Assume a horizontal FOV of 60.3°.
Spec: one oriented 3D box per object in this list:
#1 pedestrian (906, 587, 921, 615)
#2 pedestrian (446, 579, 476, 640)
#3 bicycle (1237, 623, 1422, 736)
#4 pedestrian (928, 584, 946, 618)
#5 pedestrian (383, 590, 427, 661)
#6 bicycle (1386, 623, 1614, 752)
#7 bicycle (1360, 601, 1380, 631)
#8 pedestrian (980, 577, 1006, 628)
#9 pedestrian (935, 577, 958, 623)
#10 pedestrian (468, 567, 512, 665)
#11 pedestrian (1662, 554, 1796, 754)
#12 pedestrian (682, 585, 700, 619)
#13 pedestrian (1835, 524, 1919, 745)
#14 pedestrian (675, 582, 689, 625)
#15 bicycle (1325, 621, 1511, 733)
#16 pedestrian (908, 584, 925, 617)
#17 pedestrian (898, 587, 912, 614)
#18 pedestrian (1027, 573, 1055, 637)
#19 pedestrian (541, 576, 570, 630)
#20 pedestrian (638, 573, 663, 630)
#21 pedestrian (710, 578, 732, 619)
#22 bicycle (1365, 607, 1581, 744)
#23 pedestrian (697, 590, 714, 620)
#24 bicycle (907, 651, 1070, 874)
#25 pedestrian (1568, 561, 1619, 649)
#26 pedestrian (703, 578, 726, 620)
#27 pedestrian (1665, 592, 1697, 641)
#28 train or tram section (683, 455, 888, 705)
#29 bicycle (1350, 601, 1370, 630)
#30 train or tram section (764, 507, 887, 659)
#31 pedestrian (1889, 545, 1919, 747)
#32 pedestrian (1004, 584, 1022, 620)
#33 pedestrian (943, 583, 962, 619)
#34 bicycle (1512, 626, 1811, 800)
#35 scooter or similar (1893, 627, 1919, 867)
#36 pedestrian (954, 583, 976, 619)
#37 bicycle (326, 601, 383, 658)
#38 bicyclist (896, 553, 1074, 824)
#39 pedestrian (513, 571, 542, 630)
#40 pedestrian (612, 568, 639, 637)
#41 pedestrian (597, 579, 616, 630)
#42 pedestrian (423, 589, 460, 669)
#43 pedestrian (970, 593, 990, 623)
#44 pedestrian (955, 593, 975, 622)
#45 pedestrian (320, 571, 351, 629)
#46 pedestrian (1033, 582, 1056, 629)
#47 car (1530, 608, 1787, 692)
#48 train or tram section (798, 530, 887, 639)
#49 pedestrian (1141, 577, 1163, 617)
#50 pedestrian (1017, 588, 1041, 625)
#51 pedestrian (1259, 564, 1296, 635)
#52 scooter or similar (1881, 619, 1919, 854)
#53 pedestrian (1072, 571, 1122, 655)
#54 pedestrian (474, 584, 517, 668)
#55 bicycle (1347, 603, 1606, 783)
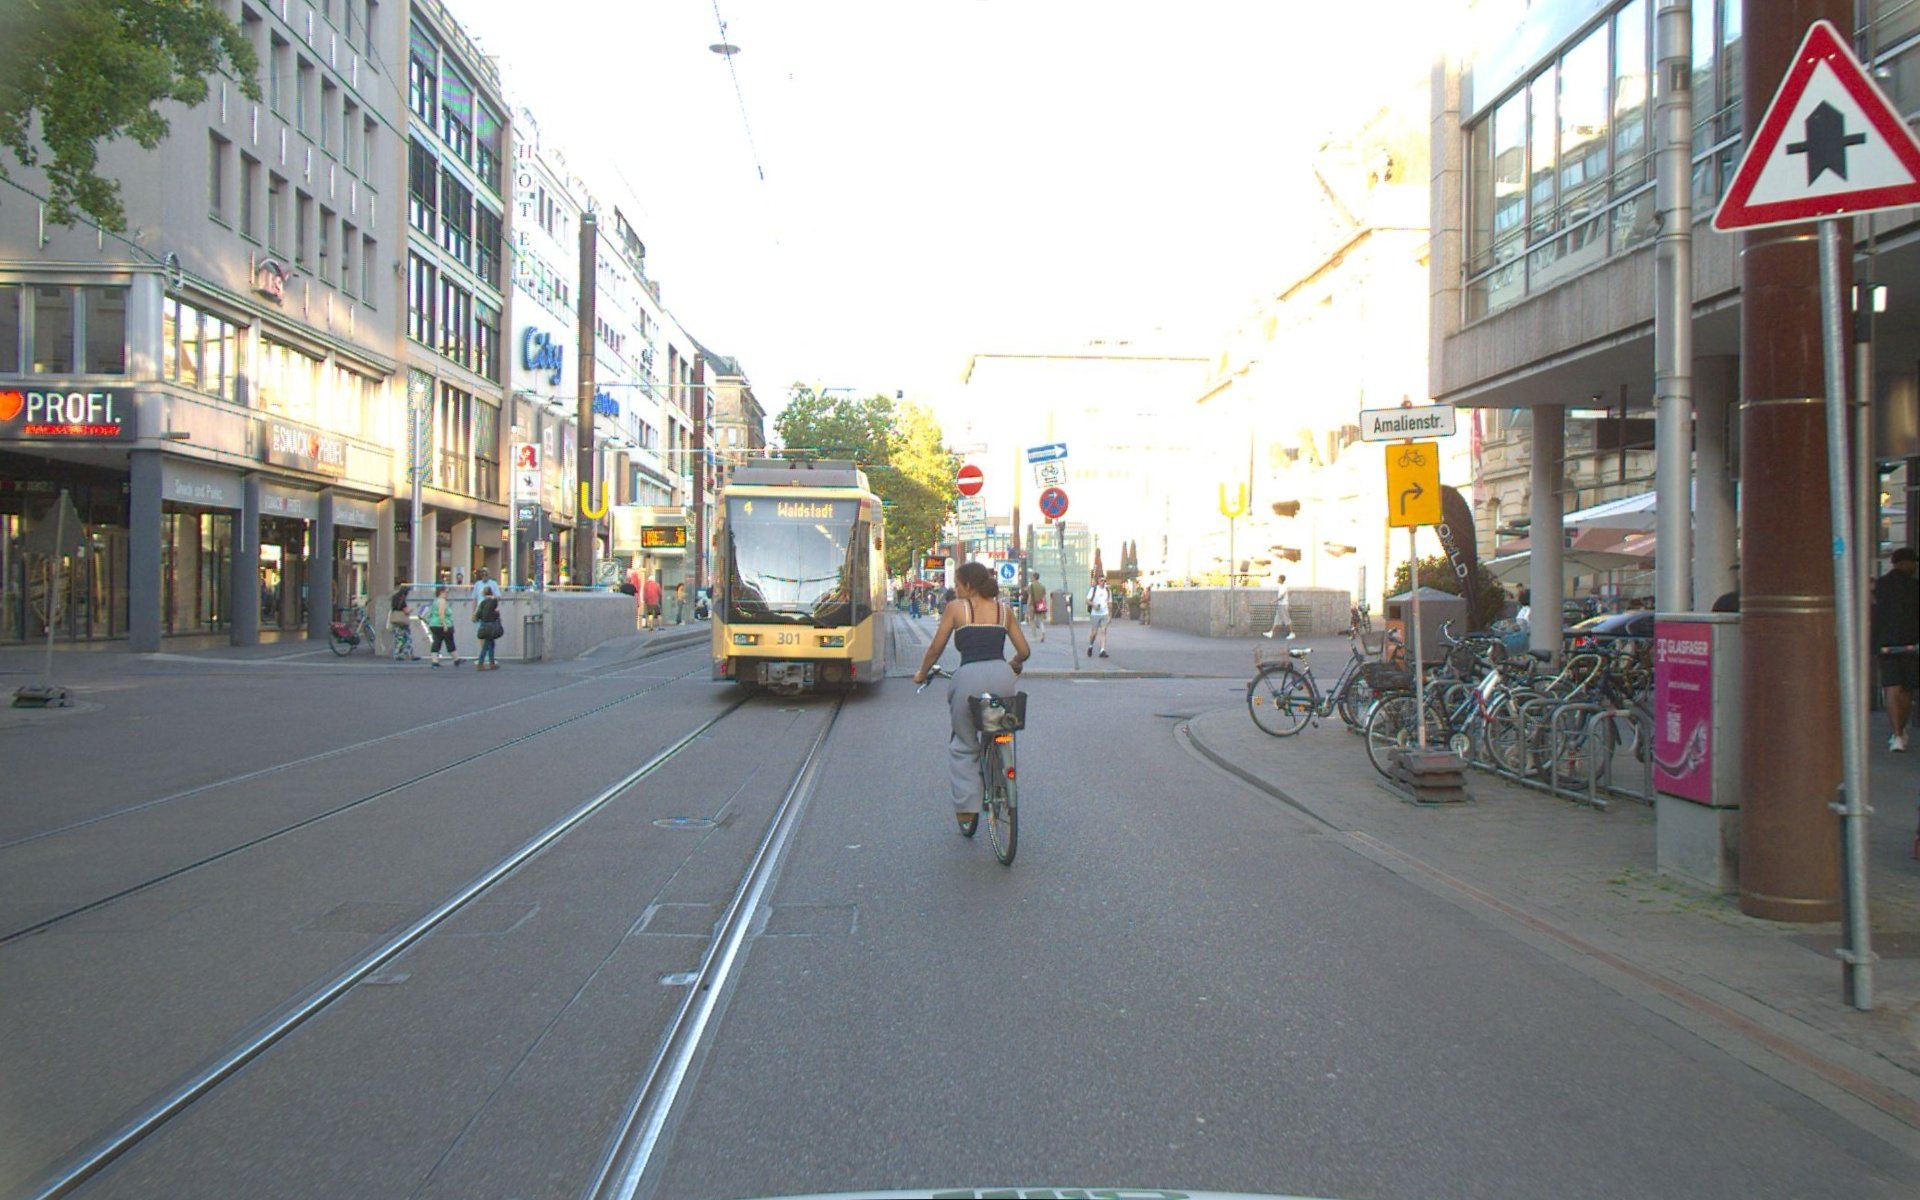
[{"bbox_3d":[-2.848,0.037,100.811,0.775,1.690,0.770,0,0,9],"label":"pedestrian"},{"bbox_3d":[-14.528,0.273,48.181,0.699,1.756,0.709,0,-1,-4],"label":"pedestrian"},{"bbox_3d":[3.943,0.841,17.716,1.816,1.128,0.666,-1,0,-5],"label":"bicycle"},{"bbox_3d":[-1.160,0.032,83.191,0.775,1.690,0.770,0,0,9],"label":"pedestrian"},{"bbox_3d":[-11.520,0.526,34.342,0.544,1.459,0.682,-1,-1,35],"label":"pedestrian"},{"bbox_3d":[5.088,0.806,15.638,1.879,1.096,0.762,-2,0,-7],"label":"bicycle"},{"bbox_3d":[12.493,0.477,50.411,0.309,0.882,0.999,-1,0,-3],"label":"bicycle"},{"bbox_3d":[1.209,0.107,60.648,0.722,1.855,0.816,0,0,-17],"label":"pedestrian"},{"bbox_3d":[-0.554,0.008,67.341,0.722,1.855,0.816,0,0,-17],"label":"pedestrian"},{"bbox_3d":[-9.457,0.324,33.297,0.759,1.960,0.708,0,-1,-10],"label":"pedestrian"},{"bbox_3d":[6.955,0.479,14.999,0.748,1.749,0.923,-1,0,-1],"label":"pedestrian"},{"bbox_3d":[-11.436,0.086,70.283,0.693,1.403,0.720,0,-1,-4],"label":"pedestrian"},{"bbox_3d":[8.903,0.315,15.772,0.672,2.049,0.782,-1,0,-2],"label":"pedestrian"},{"bbox_3d":[-10.518,0.131,62.470,0.502,1.646,0.504,0,-1,-12],"label":"pedestrian"},{"bbox_3d":[4.952,0.819,17.925,1.816,1.128,0.666,-1,0,-5],"label":"bicycle"},{"bbox_3d":[-2.286,0.021,86.964,0.750,1.690,0.795,0,0,9],"label":"pedestrian"},{"bbox_3d":[-3.534,0.033,106.264,0.750,1.690,0.795,0,0,7],"label":"pedestrian"},{"bbox_3d":[2.258,0.146,46.123,0.704,1.756,0.709,0,-1,-3],"label":"pedestrian"},{"bbox_3d":[-12.270,0.092,50.171,0.623,1.616,0.595,1,-1,-45],"label":"pedestrian"},{"bbox_3d":[-9.418,0.053,50.388,0.700,1.727,0.784,0,-1,-8],"label":"pedestrian"},{"bbox_3d":[-10.124,-0.056,70.096,0.700,1.756,0.767,1,-1,-31],"label":"pedestrian"},{"bbox_3d":[5.062,0.726,16.384,1.879,1.244,0.762,-2,0,-7],"label":"bicycle"},{"bbox_3d":[-11.614,0.233,75.587,0.693,1.403,0.720,0,-1,-4],"label":"pedestrian"},{"bbox_3d":[0.123,0.906,9.940,0.799,1.092,2.112,2,0,-3],"label":"bicycle"},{"bbox_3d":[13.516,0.101,35.279,0.791,1.855,0.806,0,1,2],"label":"pedestrian"},{"bbox_3d":[-10.166,-0.036,68.528,0.700,1.756,0.766,1,-1,-33],"label":"pedestrian"},{"bbox_3d":[20.433,0.468,46.890,0.581,1.331,0.581,1,2,-7],"label":"pedestrian"},{"bbox_3d":[-2.682,-0.318,29.660,2.744,3.377,14.501,0,0,-3],"label":"train or tram section"},{"bbox_3d":[12.174,0.471,50.394,0.309,0.882,0.999,-1,0,-3],"label":"bicycle"},{"bbox_3d":[-3.324,-0.431,44.175,2.744,3.377,14.501,0,0,-3],"label":"train or tram section"},{"bbox_3d":[8.949,0.409,14.971,0.649,1.818,0.719,-1,0,-2],"label":"pedestrian"},{"bbox_3d":[2.522,0.090,78.702,0.775,1.690,0.770,0,0,9],"label":"pedestrian"},{"bbox_3d":[-0.341,0.037,78.433,0.775,1.690,0.770,0,0,9],"label":"pedestrian"},{"bbox_3d":[5.269,0.823,12.464,1.958,1.175,0.724,-2,0,-7],"label":"bicycle"},{"bbox_3d":[5.653,0.782,9.104,1.176,1.273,0.389,-1,1,-32],"label":"scooter or similar"},{"bbox_3d":[0.226,0.060,74.811,0.752,1.606,0.794,0,0,27],"label":"pedestrian"},{"bbox_3d":[-13.032,0.619,35.628,0.488,1.127,1.801,0,2,3],"label":"bicycle"},{"bbox_3d":[0.128,0.505,9.922,0.977,1.528,0.857,2,0,-3],"label":"bicyclist"},{"bbox_3d":[-13.010,0.020,49.723,0.595,1.756,0.624,-1,-1,44],"label":"pedestrian"},{"bbox_3d":[-9.544,0.076,47.193,0.700,1.959,0.708,0,-1,-7],"label":"pedestrian"},{"bbox_3d":[-11.283,0.152,52.797,0.592,1.616,0.626,0,-1,-12],"label":"pedestrian"},{"bbox_3d":[-9.930,0.547,31.708,0.592,1.520,0.554,0,-1,-10],"label":"pedestrian"},{"bbox_3d":[0.851,0.336,70.397,0.777,1.243,0.768,0,0,-6],"label":"pedestrian"},{"bbox_3d":[0.229,0.326,71.174,0.777,1.243,0.768,0,0,-6],"label":"pedestrian"},{"bbox_3d":[-19.047,-0.003,50.487,0.699,1.756,0.709,0,-1,-4],"label":"pedestrian"},{"bbox_3d":[3.360,0.205,65.952,0.758,1.855,0.939,-1,0,-6],"label":"pedestrian"},{"bbox_3d":[12.724,0.900,30.256,3.959,1.434,1.774,1,-1,-4],"label":"car"},{"bbox_3d":[-3.974,-0.536,58.700,2.744,3.377,14.501,0,0,-3],"label":"train or tram section"},{"bbox_3d":[8.998,-0.127,77.557,0.833,1.855,0.772,0,0,-16],"label":"pedestrian"},{"bbox_3d":[3.127,0.281,75.297,0.763,1.690,0.782,0,0,-43],"label":"pedestrian"},{"bbox_3d":[9.271,-0.012,48.266,0.896,2.049,0.772,1,0,-1],"label":"pedestrian"},{"bbox_3d":[5.693,0.768,9.695,0.385,1.273,1.187,0,1,35],"label":"scooter or similar"},{"bbox_3d":[3.151,0.305,38.131,0.993,1.896,1.042,1,0,-2],"label":"pedestrian"},{"bbox_3d":[-8.746,0.493,31.173,0.671,1.569,0.605,0,-1,-6],"label":"pedestrian"},{"bbox_3d":[4.234,0.742,13.608,1.879,1.356,0.724,-2,0,-7],"label":"bicycle"}]
